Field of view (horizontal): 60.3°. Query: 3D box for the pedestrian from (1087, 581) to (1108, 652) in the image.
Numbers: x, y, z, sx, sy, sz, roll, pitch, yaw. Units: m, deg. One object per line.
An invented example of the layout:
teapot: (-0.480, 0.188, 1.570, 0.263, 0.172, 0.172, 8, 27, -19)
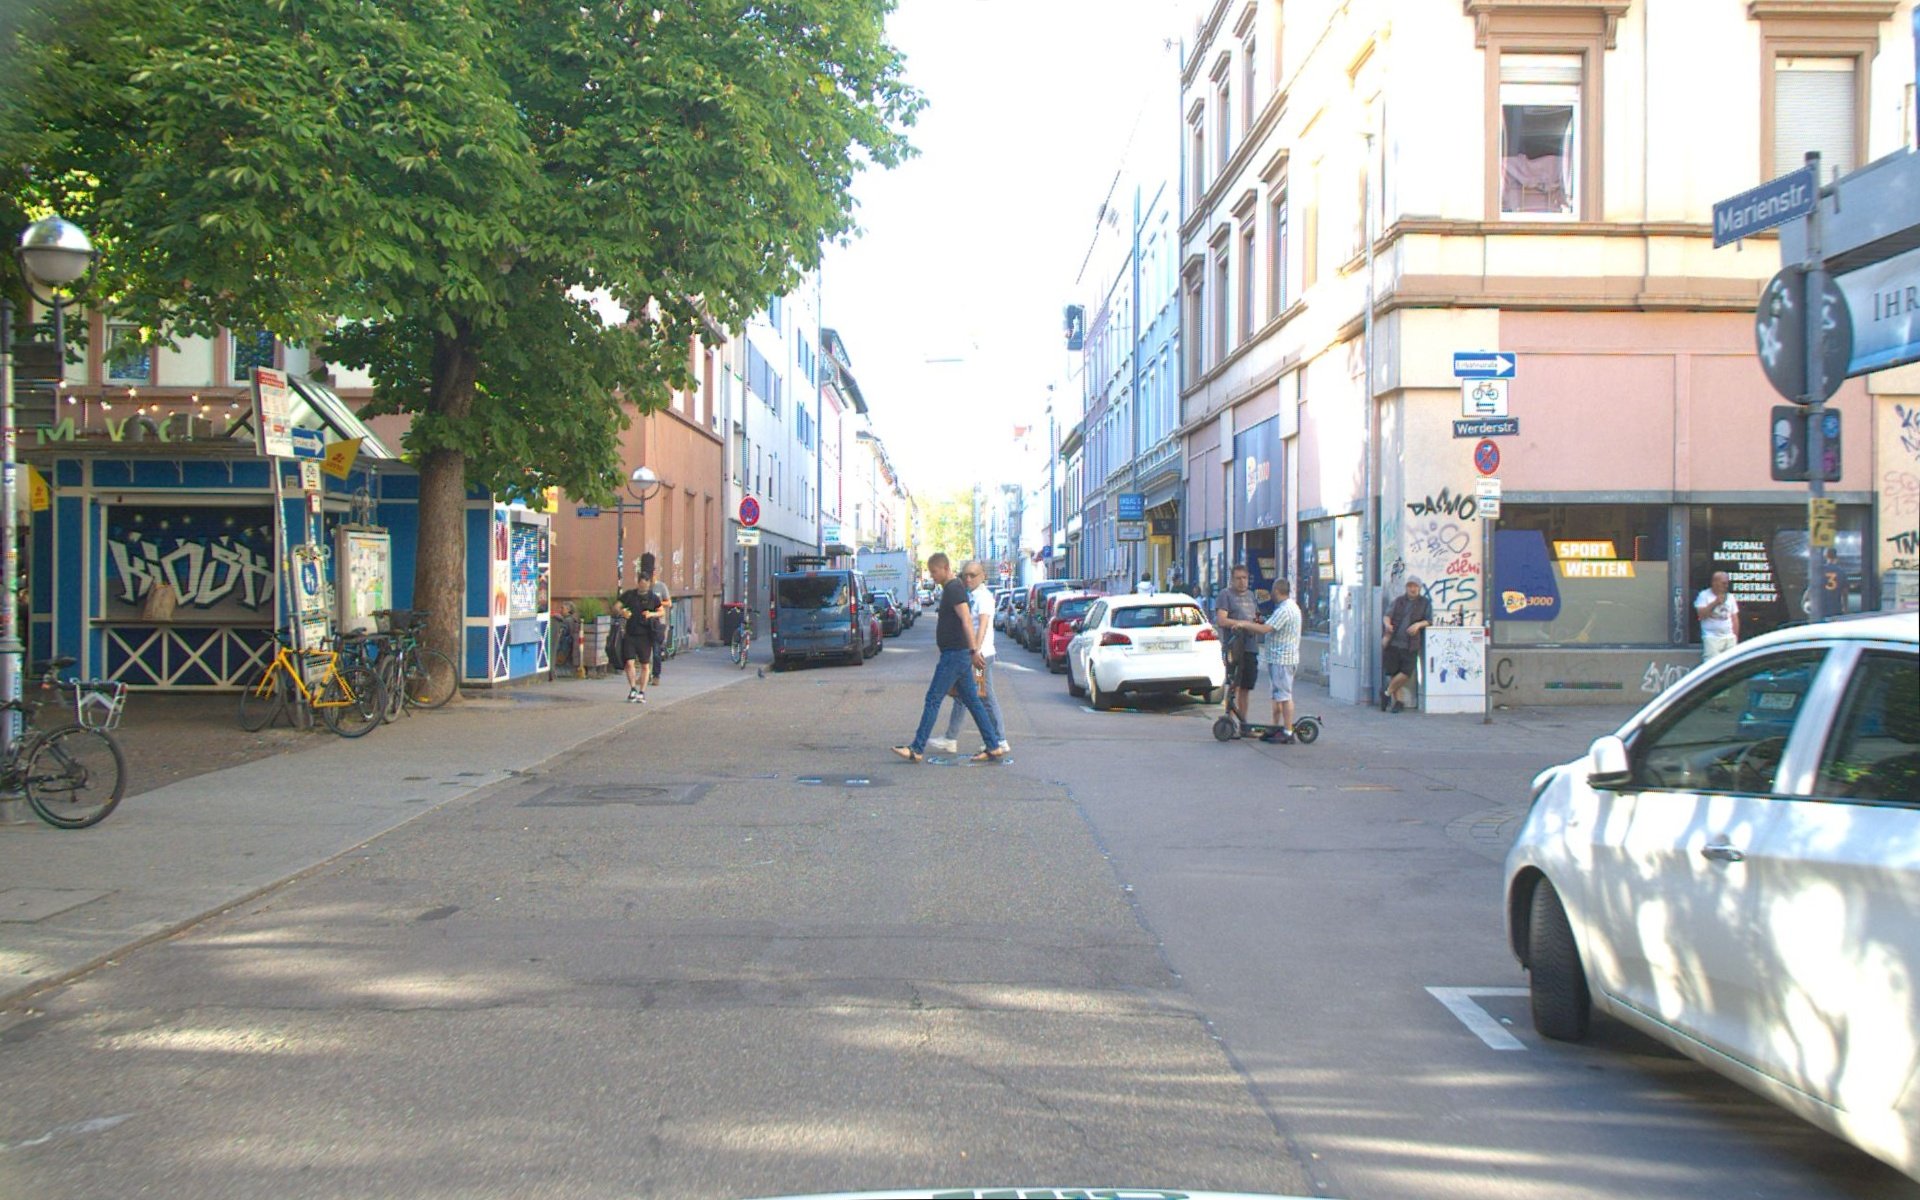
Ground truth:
pedestrian: (3.405, 0.405, 40.881, 0.432, 1.734, 0.654, 1, 0, 0)

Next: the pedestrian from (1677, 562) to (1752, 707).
pedestrian: (9.280, 0.420, 20.357, 0.676, 1.756, 0.475, 1, 0, -1)

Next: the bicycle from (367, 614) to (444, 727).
bicycle: (-5.891, 0.724, 17.612, 0.286, 1.101, 1.578, 1, 1, 0)

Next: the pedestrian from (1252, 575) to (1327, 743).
pedestrian: (3.350, 0.590, 16.816, 0.519, 1.667, 0.561, 1, -1, 44)

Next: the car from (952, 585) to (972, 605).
car: (0.163, -0.376, 133.374, 1.578, 1.587, 3.610, 0, 0, -1)

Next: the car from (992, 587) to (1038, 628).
car: (2.239, 0.315, 67.890, 1.652, 1.570, 4.045, -2, 0, -1)

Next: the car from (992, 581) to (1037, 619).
car: (2.471, -0.015, 76.404, 1.879, 1.735, 4.365, 0, 0, -1)

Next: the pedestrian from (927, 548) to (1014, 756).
pedestrian: (0.090, 0.472, 15.319, 0.746, 1.867, 0.688, 1, 0, -2)

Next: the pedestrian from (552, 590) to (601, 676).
pedestrian: (-6.616, 0.563, 28.553, 0.691, 1.470, 0.617, 1, 0, -2)

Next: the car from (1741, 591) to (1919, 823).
car: (7.695, 0.697, 11.703, 3.500, 1.512, 1.789, 0, 0, -1)

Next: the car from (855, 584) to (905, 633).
car: (-2.996, 0.281, 62.519, 1.682, 1.679, 4.245, -3, 1, -1)

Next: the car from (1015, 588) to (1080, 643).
car: (2.555, 0.444, 48.895, 1.521, 1.537, 3.609, 1, 0, -3)

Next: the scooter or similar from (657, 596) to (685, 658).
scooter or similar: (-5.893, 0.536, 33.777, 0.340, 1.238, 1.391, 1, 0, -1)

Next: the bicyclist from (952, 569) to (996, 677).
bicyclist: (0.222, 0.369, 26.756, 0.654, 1.706, 1.097, 1, 0, -1)

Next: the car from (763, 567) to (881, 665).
car: (-2.856, 0.292, 35.428, 1.979, 1.912, 5.297, 1, 1, 1)

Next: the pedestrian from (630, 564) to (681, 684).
pedestrian: (-4.850, 0.374, 26.378, 0.633, 1.865, 0.697, 2, 0, -1)

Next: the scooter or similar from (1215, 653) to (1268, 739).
scooter or similar: (2.956, 1.001, 17.424, 0.385, 0.843, 0.926, 1, 0, 0)

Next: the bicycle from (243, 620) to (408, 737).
bicycle: (-6.248, 0.761, 16.293, 1.540, 1.101, 0.347, 1, 0, 10)

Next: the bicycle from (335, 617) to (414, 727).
bicycle: (-6.209, 0.738, 17.588, 0.286, 1.064, 1.578, 1, 1, 0)

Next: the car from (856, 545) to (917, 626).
car: (-3.196, -0.592, 73.479, 2.295, 3.349, 7.154, -2, 0, 0)

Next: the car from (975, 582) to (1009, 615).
car: (1.908, -0.102, 99.644, 1.715, 1.911, 3.970, -1, 0, -3)

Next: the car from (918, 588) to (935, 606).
car: (-3.510, -0.298, 173.676, 1.714, 1.853, 3.795, -1, 0, -1)

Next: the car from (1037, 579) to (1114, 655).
car: (2.615, 0.371, 37.890, 1.537, 1.584, 3.314, -3, 0, 1)

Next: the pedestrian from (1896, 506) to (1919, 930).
pedestrian: (4.642, 0.538, 7.427, 0.550, 1.927, 0.530, 1, 0, -1)

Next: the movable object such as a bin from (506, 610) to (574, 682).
movable object such as a bin: (-6.649, 0.723, 26.218, 0.852, 1.105, 0.774, 1, 0, 0)

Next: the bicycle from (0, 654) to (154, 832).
bicycle: (-6.037, 0.892, 10.474, 1.656, 1.084, 0.346, 1, 0, -3)

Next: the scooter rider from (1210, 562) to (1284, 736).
scooter rider: (3.056, 0.510, 17.620, 0.554, 1.809, 0.609, 1, -1, 34)

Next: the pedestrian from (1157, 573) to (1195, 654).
pedestrian: (4.811, 0.300, 36.909, 0.617, 1.771, 0.656, 1, 0, -13)

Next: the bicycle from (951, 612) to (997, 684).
bicycle: (0.214, 0.758, 26.758, 0.663, 1.093, 1.941, 1, 0, -1)

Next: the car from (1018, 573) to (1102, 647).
car: (2.589, 0.251, 43.807, 1.860, 1.825, 4.314, 1, 0, -1)

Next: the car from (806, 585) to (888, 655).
car: (-2.743, 0.482, 40.880, 1.715, 1.548, 3.868, -3, 0, 0)

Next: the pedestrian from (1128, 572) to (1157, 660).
pedestrian: (3.717, 0.330, 33.723, 0.549, 1.771, 0.428, 1, 0, 5)

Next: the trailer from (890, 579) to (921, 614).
trailer: (-3.383, -0.224, 102.842, 1.843, 2.129, 3.736, -1, 0, -1)

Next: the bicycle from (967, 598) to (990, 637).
bicycle: (0.543, 0.516, 50.223, 0.635, 1.149, 2.135, 1, 0, -1)

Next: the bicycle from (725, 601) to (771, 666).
bicycle: (-4.203, 0.638, 32.651, 0.541, 1.238, 1.978, 1, 0, -18)

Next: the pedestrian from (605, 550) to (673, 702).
pedestrian: (-4.106, 0.328, 21.207, 0.702, 1.906, 0.720, 1, 0, -1)

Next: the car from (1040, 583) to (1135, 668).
car: (2.518, 0.493, 33.295, 1.574, 1.600, 3.553, 1, 0, -1)

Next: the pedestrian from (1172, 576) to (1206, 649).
pedestrian: (5.002, 0.275, 36.142, 0.576, 1.556, 0.658, 1, 0, -6)

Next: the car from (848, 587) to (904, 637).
car: (-2.855, 0.376, 56.936, 1.682, 1.504, 4.498, -3, 1, -1)

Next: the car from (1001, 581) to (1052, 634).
car: (2.269, 0.243, 57.092, 1.525, 1.742, 3.558, 1, 0, -1)

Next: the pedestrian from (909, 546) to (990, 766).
pedestrian: (-0.103, 0.468, 14.477, 0.680, 1.857, 1.003, 0, 0, -2)

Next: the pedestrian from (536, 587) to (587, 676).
pedestrian: (-6.716, 0.525, 27.889, 0.691, 1.470, 0.617, 1, 0, -2)

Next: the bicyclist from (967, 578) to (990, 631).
bicyclist: (0.561, 0.135, 50.158, 0.657, 1.595, 0.716, 1, 0, -1)

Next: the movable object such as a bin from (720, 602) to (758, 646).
movable object such as a bin: (-5.671, 0.613, 42.411, 0.743, 1.085, 0.652, 1, 0, 19)

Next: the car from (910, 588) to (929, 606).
car: (-3.792, -0.272, 156.307, 1.714, 1.713, 3.795, -1, 0, -1)

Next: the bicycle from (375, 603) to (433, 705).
bicycle: (-6.847, 0.641, 20.423, 0.488, 1.151, 2.030, 1, 1, -14)

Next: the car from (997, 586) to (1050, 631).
car: (2.331, 0.312, 61.861, 1.662, 1.570, 4.628, -2, 0, -1)

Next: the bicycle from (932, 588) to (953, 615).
bicycle: (-0.877, 0.074, 84.237, 0.957, 1.337, 2.555, -1, 0, 1)

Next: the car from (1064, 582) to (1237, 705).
car: (2.575, 0.557, 23.237, 1.751, 1.542, 4.134, 1, 0, -3)

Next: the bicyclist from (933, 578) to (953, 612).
bicyclist: (-0.875, -0.254, 84.003, 0.931, 1.656, 0.953, -2, 0, 0)

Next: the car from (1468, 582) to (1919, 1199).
car: (2.925, 0.722, 4.709, 1.655, 1.488, 3.638, 1, 0, -3)

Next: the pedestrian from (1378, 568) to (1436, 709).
pedestrian: (5.486, 0.458, 20.309, 0.588, 1.678, 0.464, 1, 2, 31)
